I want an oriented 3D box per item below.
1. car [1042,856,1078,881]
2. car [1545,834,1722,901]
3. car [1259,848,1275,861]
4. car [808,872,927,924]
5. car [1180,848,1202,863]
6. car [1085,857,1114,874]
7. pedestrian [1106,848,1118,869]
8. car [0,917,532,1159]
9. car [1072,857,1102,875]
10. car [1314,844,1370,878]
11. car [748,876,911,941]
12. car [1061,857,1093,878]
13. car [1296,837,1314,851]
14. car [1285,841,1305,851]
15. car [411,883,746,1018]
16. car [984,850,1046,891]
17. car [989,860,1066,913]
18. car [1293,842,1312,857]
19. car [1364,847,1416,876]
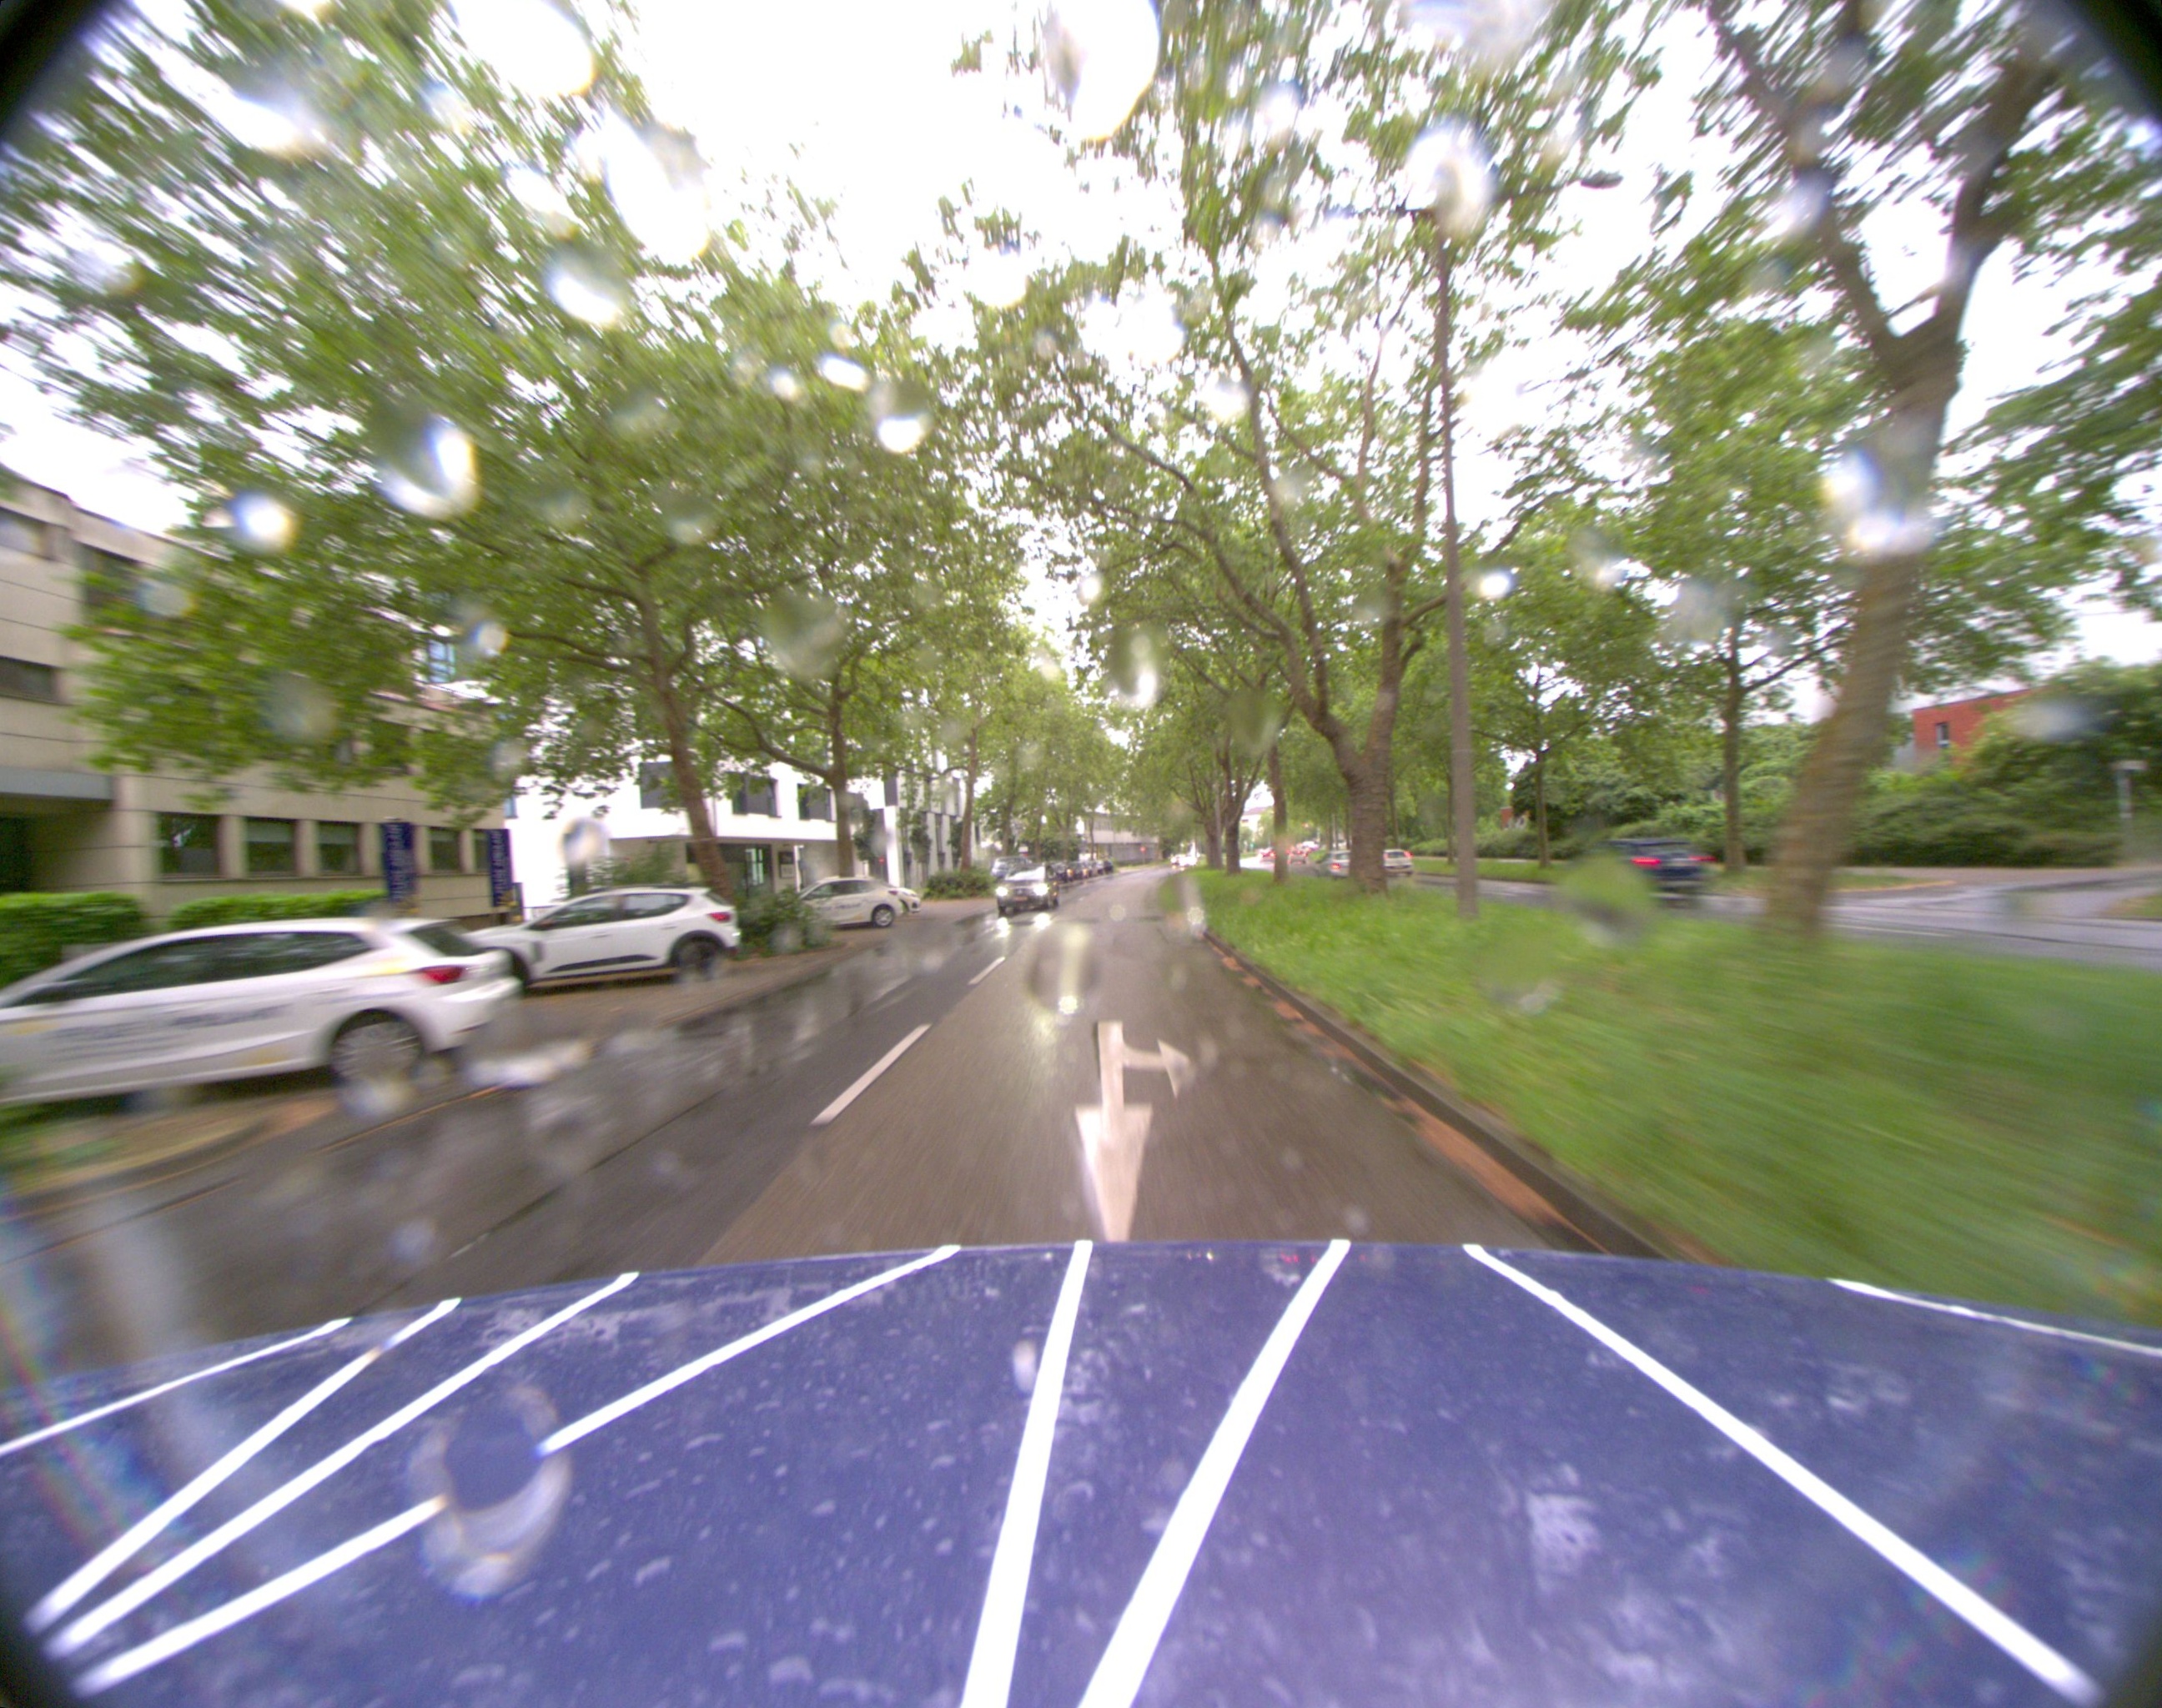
[{"bbox_3d":[-1.491,1.013,55.356,1.746,1.557,4.374,-3,0,8],"label":"car"},{"bbox_3d":[15.135,0.341,21.156,1.748,1.582,4.209,-3,0,-1],"label":"car"},{"bbox_3d":[22.299,0.036,91.209,1.746,1.467,4.414,-3,0,13],"label":"car"},{"bbox_3d":[-7.108,1.437,25.661,3.647,1.495,1.748,-3,-1,-11],"label":"car"},{"bbox_3d":[13.854,0.201,95.326,1.996,1.620,4.526,-4,0,16],"label":"car"},{"bbox_3d":[1.906,1.085,75.055,1.746,1.420,4.872,-3,0,15],"label":"car"},{"bbox_3d":[3.101,0.440,76.017,0.901,2.002,0.832,-3,1,-25],"label":"pedestrian"},{"bbox_3d":[-7.288,1.457,6.622,3.696,1.408,1.746,-3,0,-23],"label":"car"},{"bbox_3d":[0.600,1.061,68.336,1.746,1.420,5.107,-3,0,10],"label":"car"},{"bbox_3d":[13.177,0.318,38.626,1.747,1.582,4.332,-3,0,7],"label":"car"},{"bbox_3d":[-6.989,1.444,21.169,4.043,1.420,1.745,-3,0,-26],"label":"car"},{"bbox_3d":[-0.277,1.069,62.301,1.746,1.467,4.086,-3,0,12],"label":"car"},{"bbox_3d":[39.112,-1.724,132.577,2.032,2.213,5.442,-3,0,24],"label":"car"},{"bbox_3d":[40.728,-1.521,144.723,2.031,1.726,4.963,-3,0,35],"label":"car"},{"bbox_3d":[-7.594,1.373,11.954,4.043,1.530,1.745,-3,0,-28],"label":"car"},{"bbox_3d":[-3.610,0.874,42.713,2.125,2.016,5.530,-3,0,8],"label":"car"},{"bbox_3d":[-1.871,1.129,28.511,1.998,1.585,5.591,-4,0,4],"label":"car"},{"bbox_3d":[24.199,-0.505,82.900,1.745,1.451,3.846,-3,0,18],"label":"car"},{"bbox_3d":[17.134,0.369,42.258,1.746,1.467,4.085,-3,0,9],"label":"car"}]
